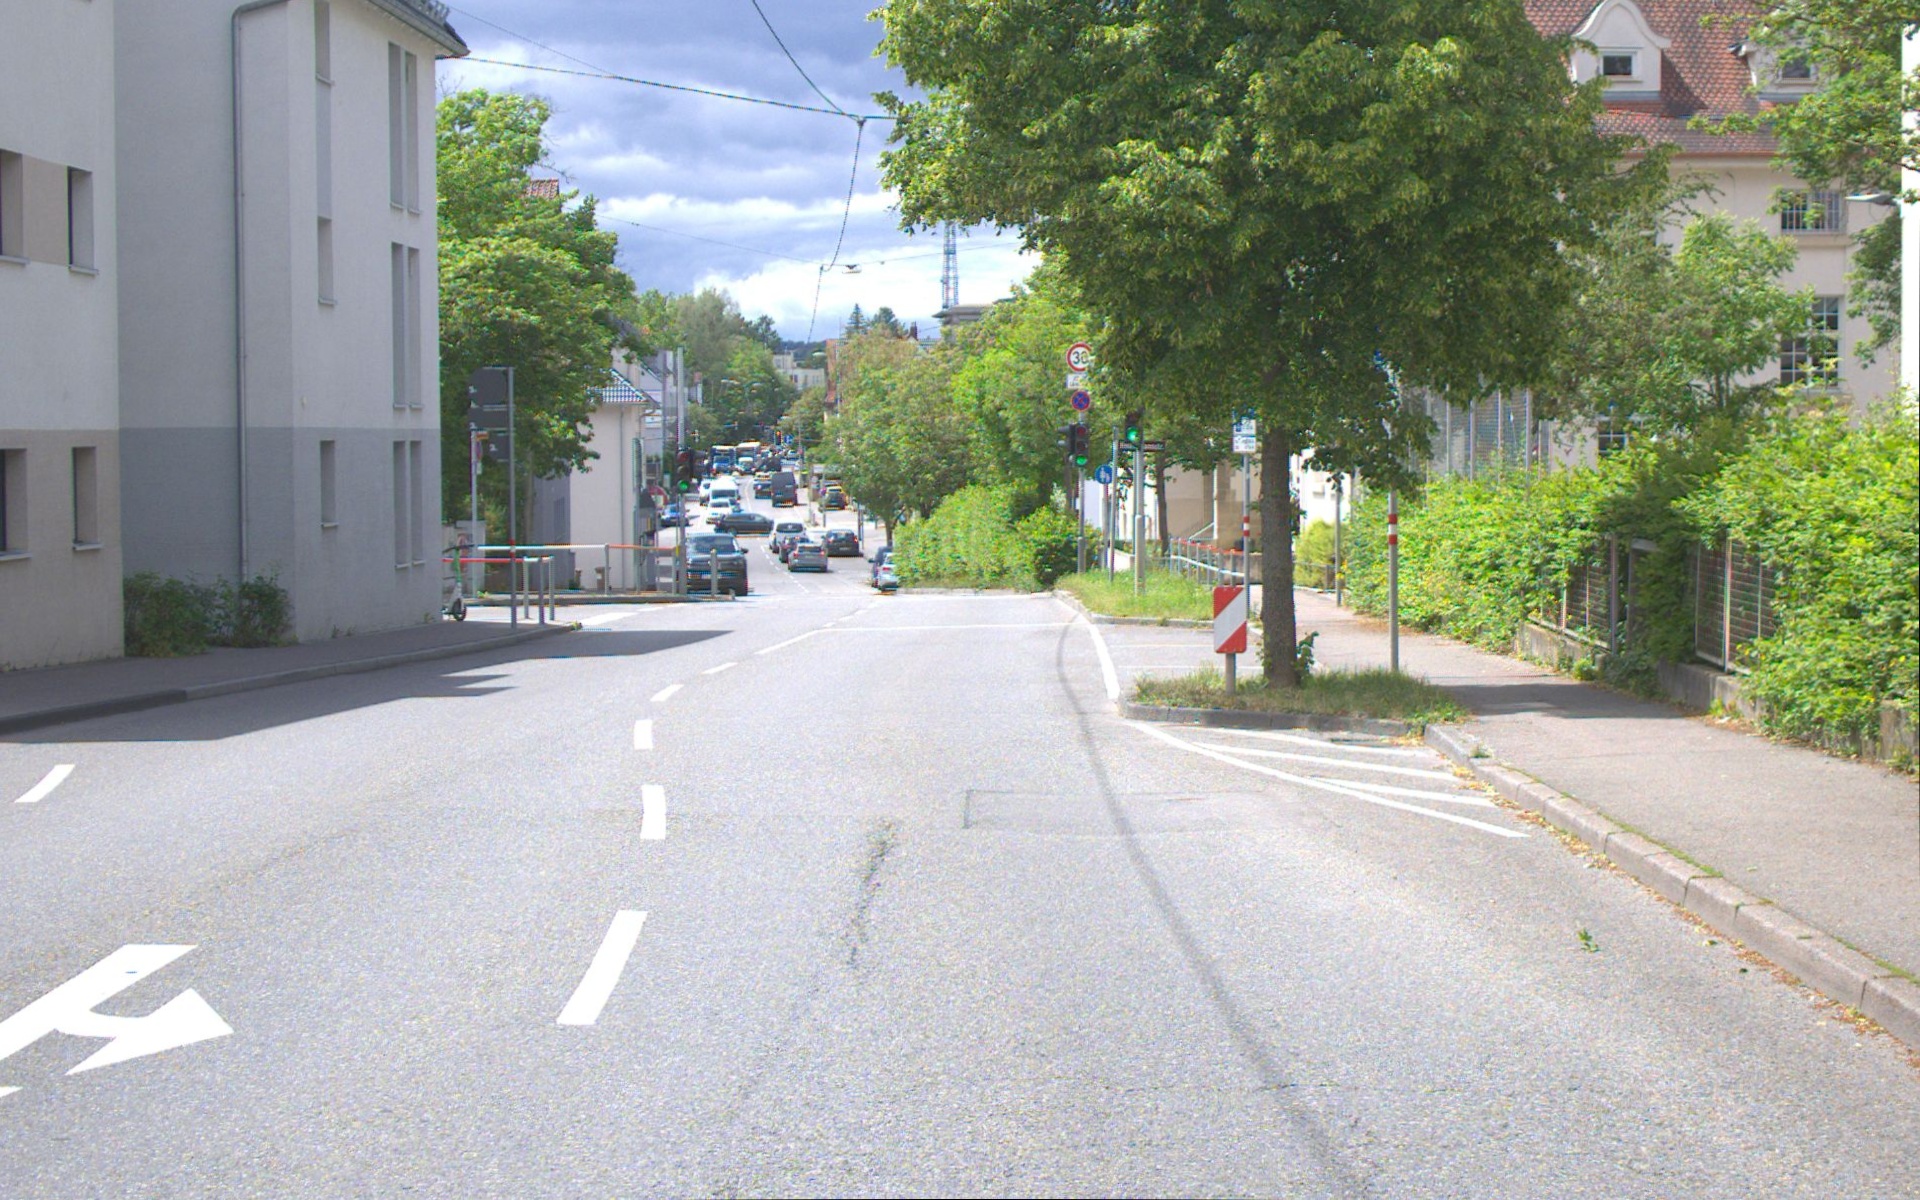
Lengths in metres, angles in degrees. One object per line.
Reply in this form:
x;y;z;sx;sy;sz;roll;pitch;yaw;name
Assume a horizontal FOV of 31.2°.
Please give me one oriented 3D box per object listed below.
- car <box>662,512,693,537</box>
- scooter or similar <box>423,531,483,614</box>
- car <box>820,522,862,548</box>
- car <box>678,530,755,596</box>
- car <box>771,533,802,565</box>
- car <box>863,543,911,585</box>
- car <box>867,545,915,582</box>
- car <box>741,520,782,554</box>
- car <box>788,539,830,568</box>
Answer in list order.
-19.136;-5.087;232.994;1.873;1.634;4.000;1;1;-2;car
-7.800;-0.421;52.883;0.489;1.257;1.307;-1;1;-28;scooter or similar
-6.582;-3.611;190.287;1.752;1.366;4.001;0;2;-11;car
-6.164;-0.960;87.260;1.795;1.605;4.646;0;1;-2;car
-9.302;-2.758;183.970;1.273;1.522;3.052;-1;4;-10;car
-3.187;-1.571;149.894;1.844;1.761;4.516;1;1;-4;car
-2.899;-1.529;144.025;1.786;1.504;4.365;1;1;-4;car
-11.168;-3.563;193.271;1.836;1.855;3.852;1;1;-11;car
-7.692;-2.361;174.714;1.743;1.412;4.001;0;1;-8;car
